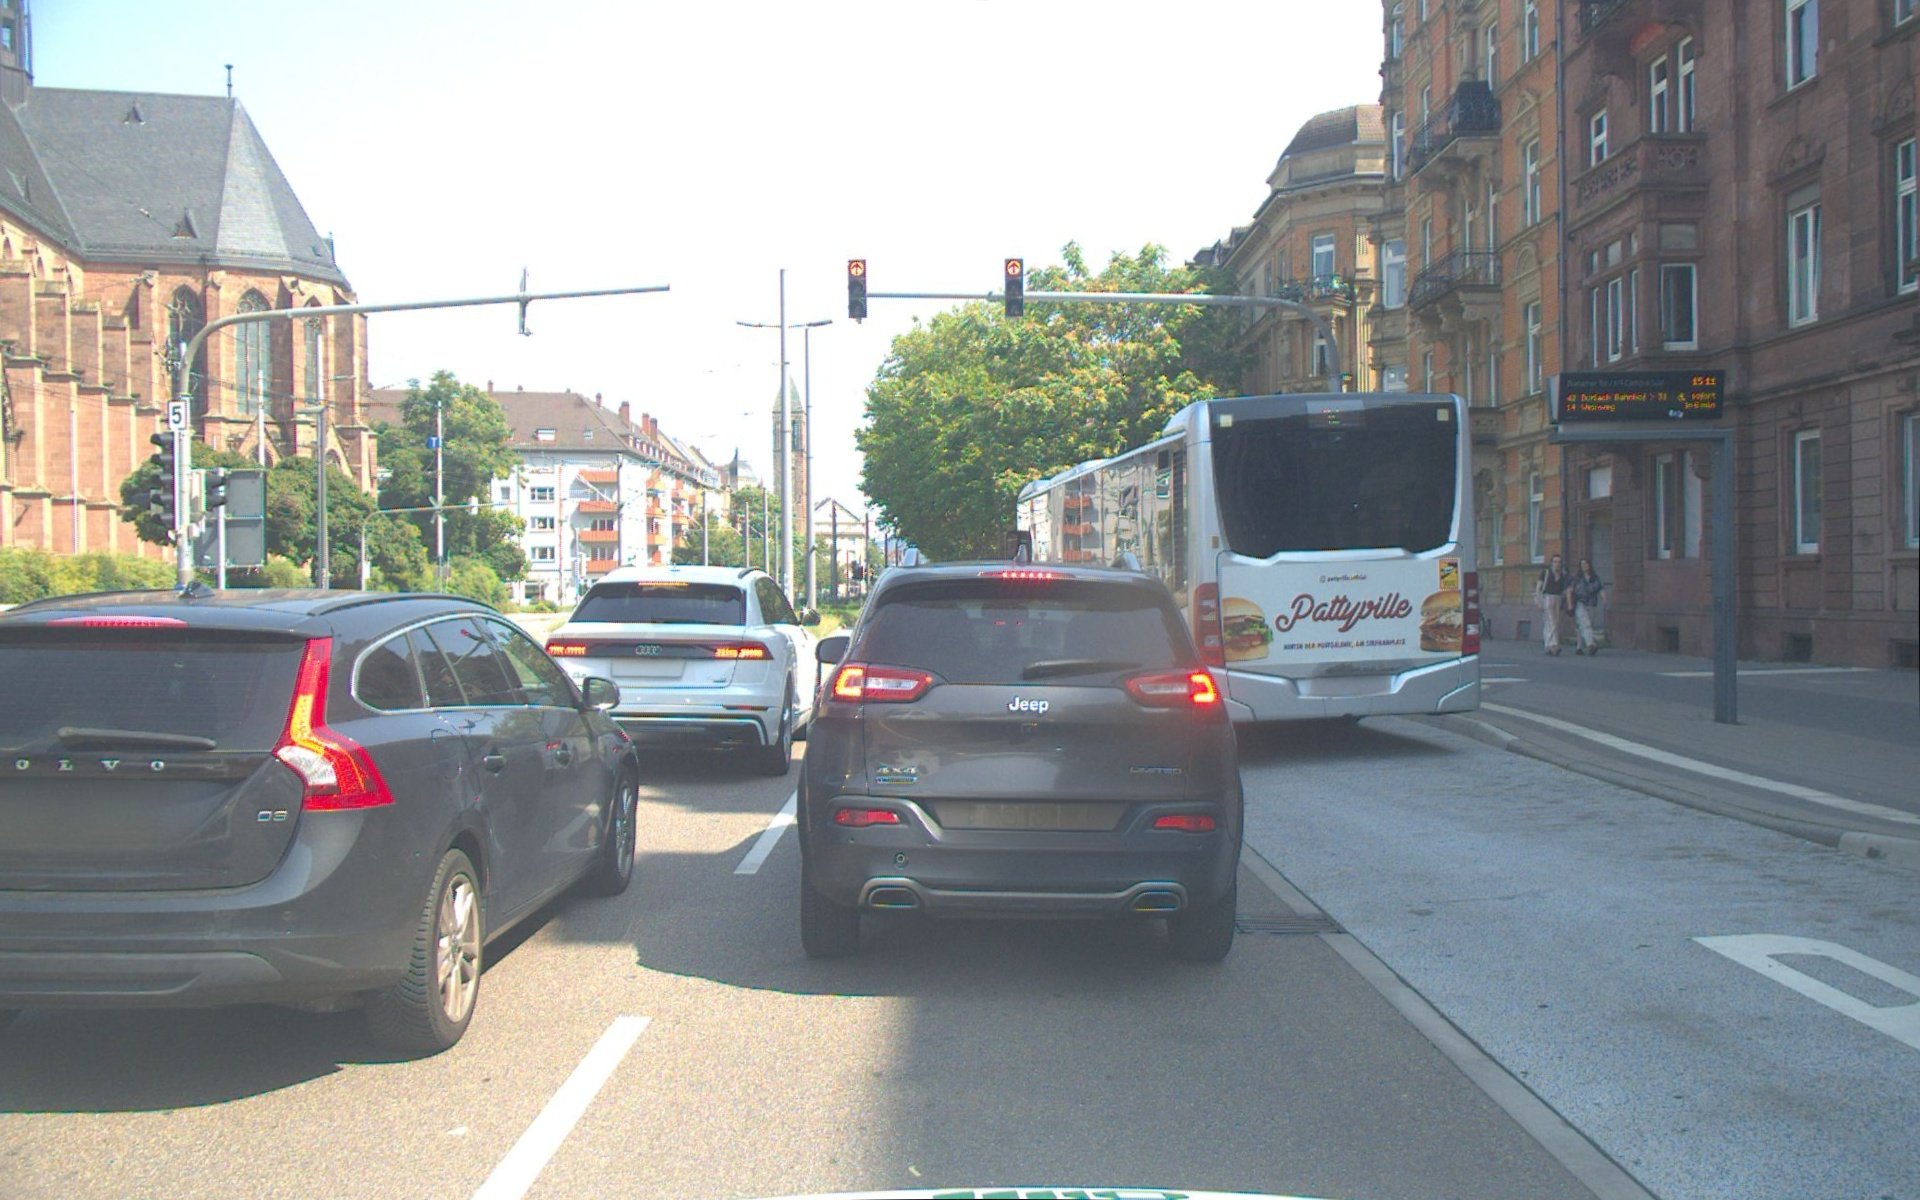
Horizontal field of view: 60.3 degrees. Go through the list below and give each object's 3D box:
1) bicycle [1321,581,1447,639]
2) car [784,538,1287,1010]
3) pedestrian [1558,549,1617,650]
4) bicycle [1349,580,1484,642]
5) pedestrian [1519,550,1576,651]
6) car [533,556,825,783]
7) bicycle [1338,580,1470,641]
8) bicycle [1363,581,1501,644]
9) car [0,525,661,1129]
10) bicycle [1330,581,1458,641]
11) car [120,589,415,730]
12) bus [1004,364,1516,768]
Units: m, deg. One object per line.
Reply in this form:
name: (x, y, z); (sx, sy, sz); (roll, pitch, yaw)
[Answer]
bicycle: (10.715, 0.237, 41.867); (2.943, 1.397, 0.947); (-1, 0, -2)
car: (0.287, 0.611, 8.113); (1.795, 1.680, 4.308); (1, 0, 0)
pedestrian: (11.448, -0.017, 30.202); (0.700, 1.809, 0.870); (-1, 0, -2)
bicycle: (10.770, 0.259, 39.064); (2.933, 1.395, 0.871); (-1, 0, -2)
pedestrian: (10.734, 0.004, 30.234); (0.700, 1.807, 0.847); (-1, 0, -2)
car: (-2.265, 0.499, 14.472); (1.863, 1.680, 4.308); (0, 0, -1)
bicycle: (10.718, 0.255, 39.976); (2.933, 1.395, 0.871); (-1, 0, -2)
bicycle: (10.874, 0.279, 38.160); (2.933, 1.395, 0.871); (-1, 0, -2)
car: (-2.434, 0.604, 6.660); (1.712, 1.642, 4.308); (1, 0, -1)
bicycle: (10.728, 0.264, 40.924); (2.933, 1.395, 0.871); (-1, 0, -2)
car: (-8.355, 0.640, 20.444); (1.711, 1.460, 4.572); (-2, 1, -1)
bus: (2.637, -0.283, 19.483); (2.690, 3.161, 11.942); (-3, 0, -5)
